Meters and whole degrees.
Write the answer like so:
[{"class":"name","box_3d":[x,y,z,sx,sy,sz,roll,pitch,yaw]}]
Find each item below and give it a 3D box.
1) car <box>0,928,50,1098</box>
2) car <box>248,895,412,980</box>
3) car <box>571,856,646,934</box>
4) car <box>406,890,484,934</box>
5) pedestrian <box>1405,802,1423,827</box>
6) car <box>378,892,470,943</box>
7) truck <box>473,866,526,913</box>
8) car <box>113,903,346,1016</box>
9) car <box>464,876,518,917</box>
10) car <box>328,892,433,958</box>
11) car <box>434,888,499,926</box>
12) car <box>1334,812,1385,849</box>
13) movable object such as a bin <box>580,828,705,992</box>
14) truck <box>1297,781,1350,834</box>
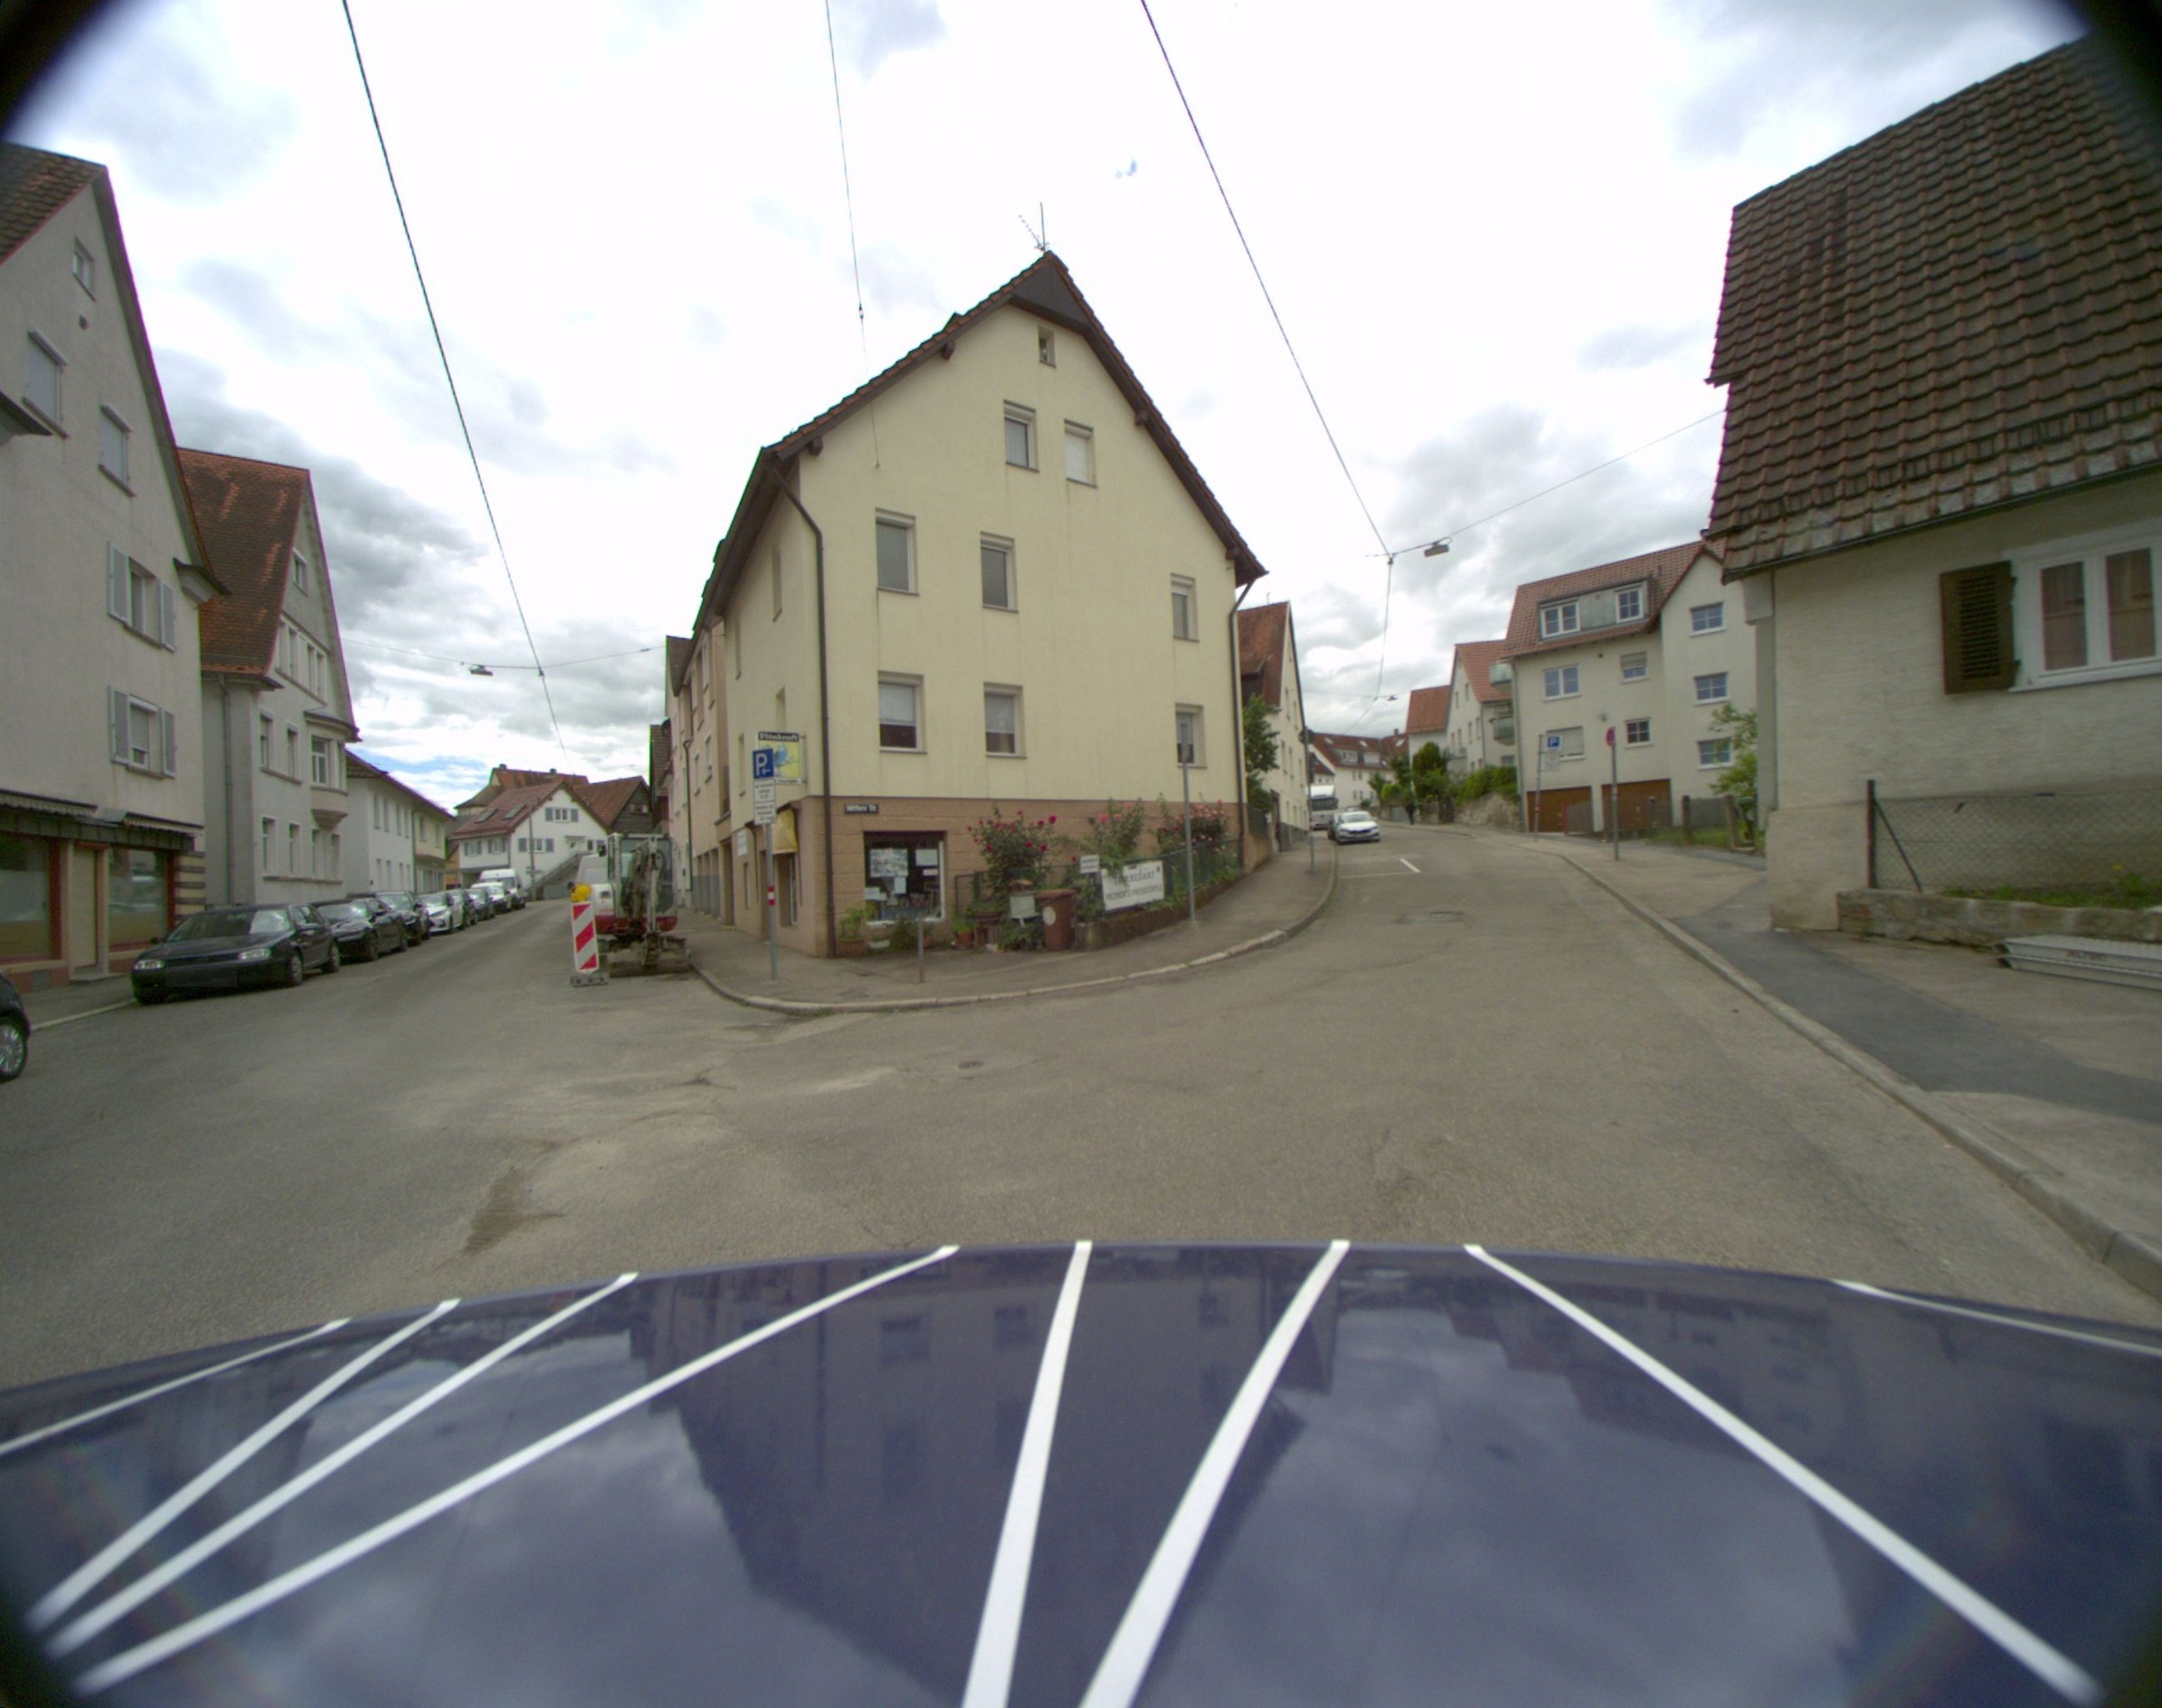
[{"class":"car","box_3d":[-9.466,1.438,5.030,1.699,1.442,3.911,-6,2,-32]},{"class":"car","box_3d":[-17.138,1.814,17.579,1.699,1.442,4.094,-5,2,-31]},{"class":"car","box_3d":[-16.585,1.351,26.554,2.004,2.373,6.605,0,-2,-33]},{"class":"car","box_3d":[-25.043,2.246,30.052,1.699,1.382,3.705,-5,2,-31]},{"class":"pedestrian","box_3d":[23.127,-2.744,52.760,0.841,1.668,0.977,-5,3,12]},{"class":"car","box_3d":[-22.680,2.136,26.380,1.699,1.382,3.792,-5,2,-31]},{"class":"truck","box_3d":[-35.414,2.119,46.423,1.829,2.581,4.769,-5,2,-31]},{"class":"car","box_3d":[-14.528,1.683,13.257,1.700,1.395,3.991,-4,1,-34]},{"class":"car","box_3d":[-32.632,2.306,42.118,1.699,1.993,4.084,-5,2,-31]},{"class":"car","box_3d":[-20.030,1.948,21.898,1.700,1.511,4.094,-5,2,-37]},{"class":"car","box_3d":[-27.927,2.377,34.636,1.699,1.382,3.705,-5,2,-31]},{"class":"car","box_3d":[13.078,-1.159,35.865,1.797,1.437,4.300,-5,2,16]},{"class":"movable object such as a bin","box_3d":[-8.138,0.897,13.884,1.575,2.485,4.663,0,-1,-35]},{"class":"truck","box_3d":[18.631,-3.536,58.883,2.680,3.577,8.109,-4,2,10]}]
